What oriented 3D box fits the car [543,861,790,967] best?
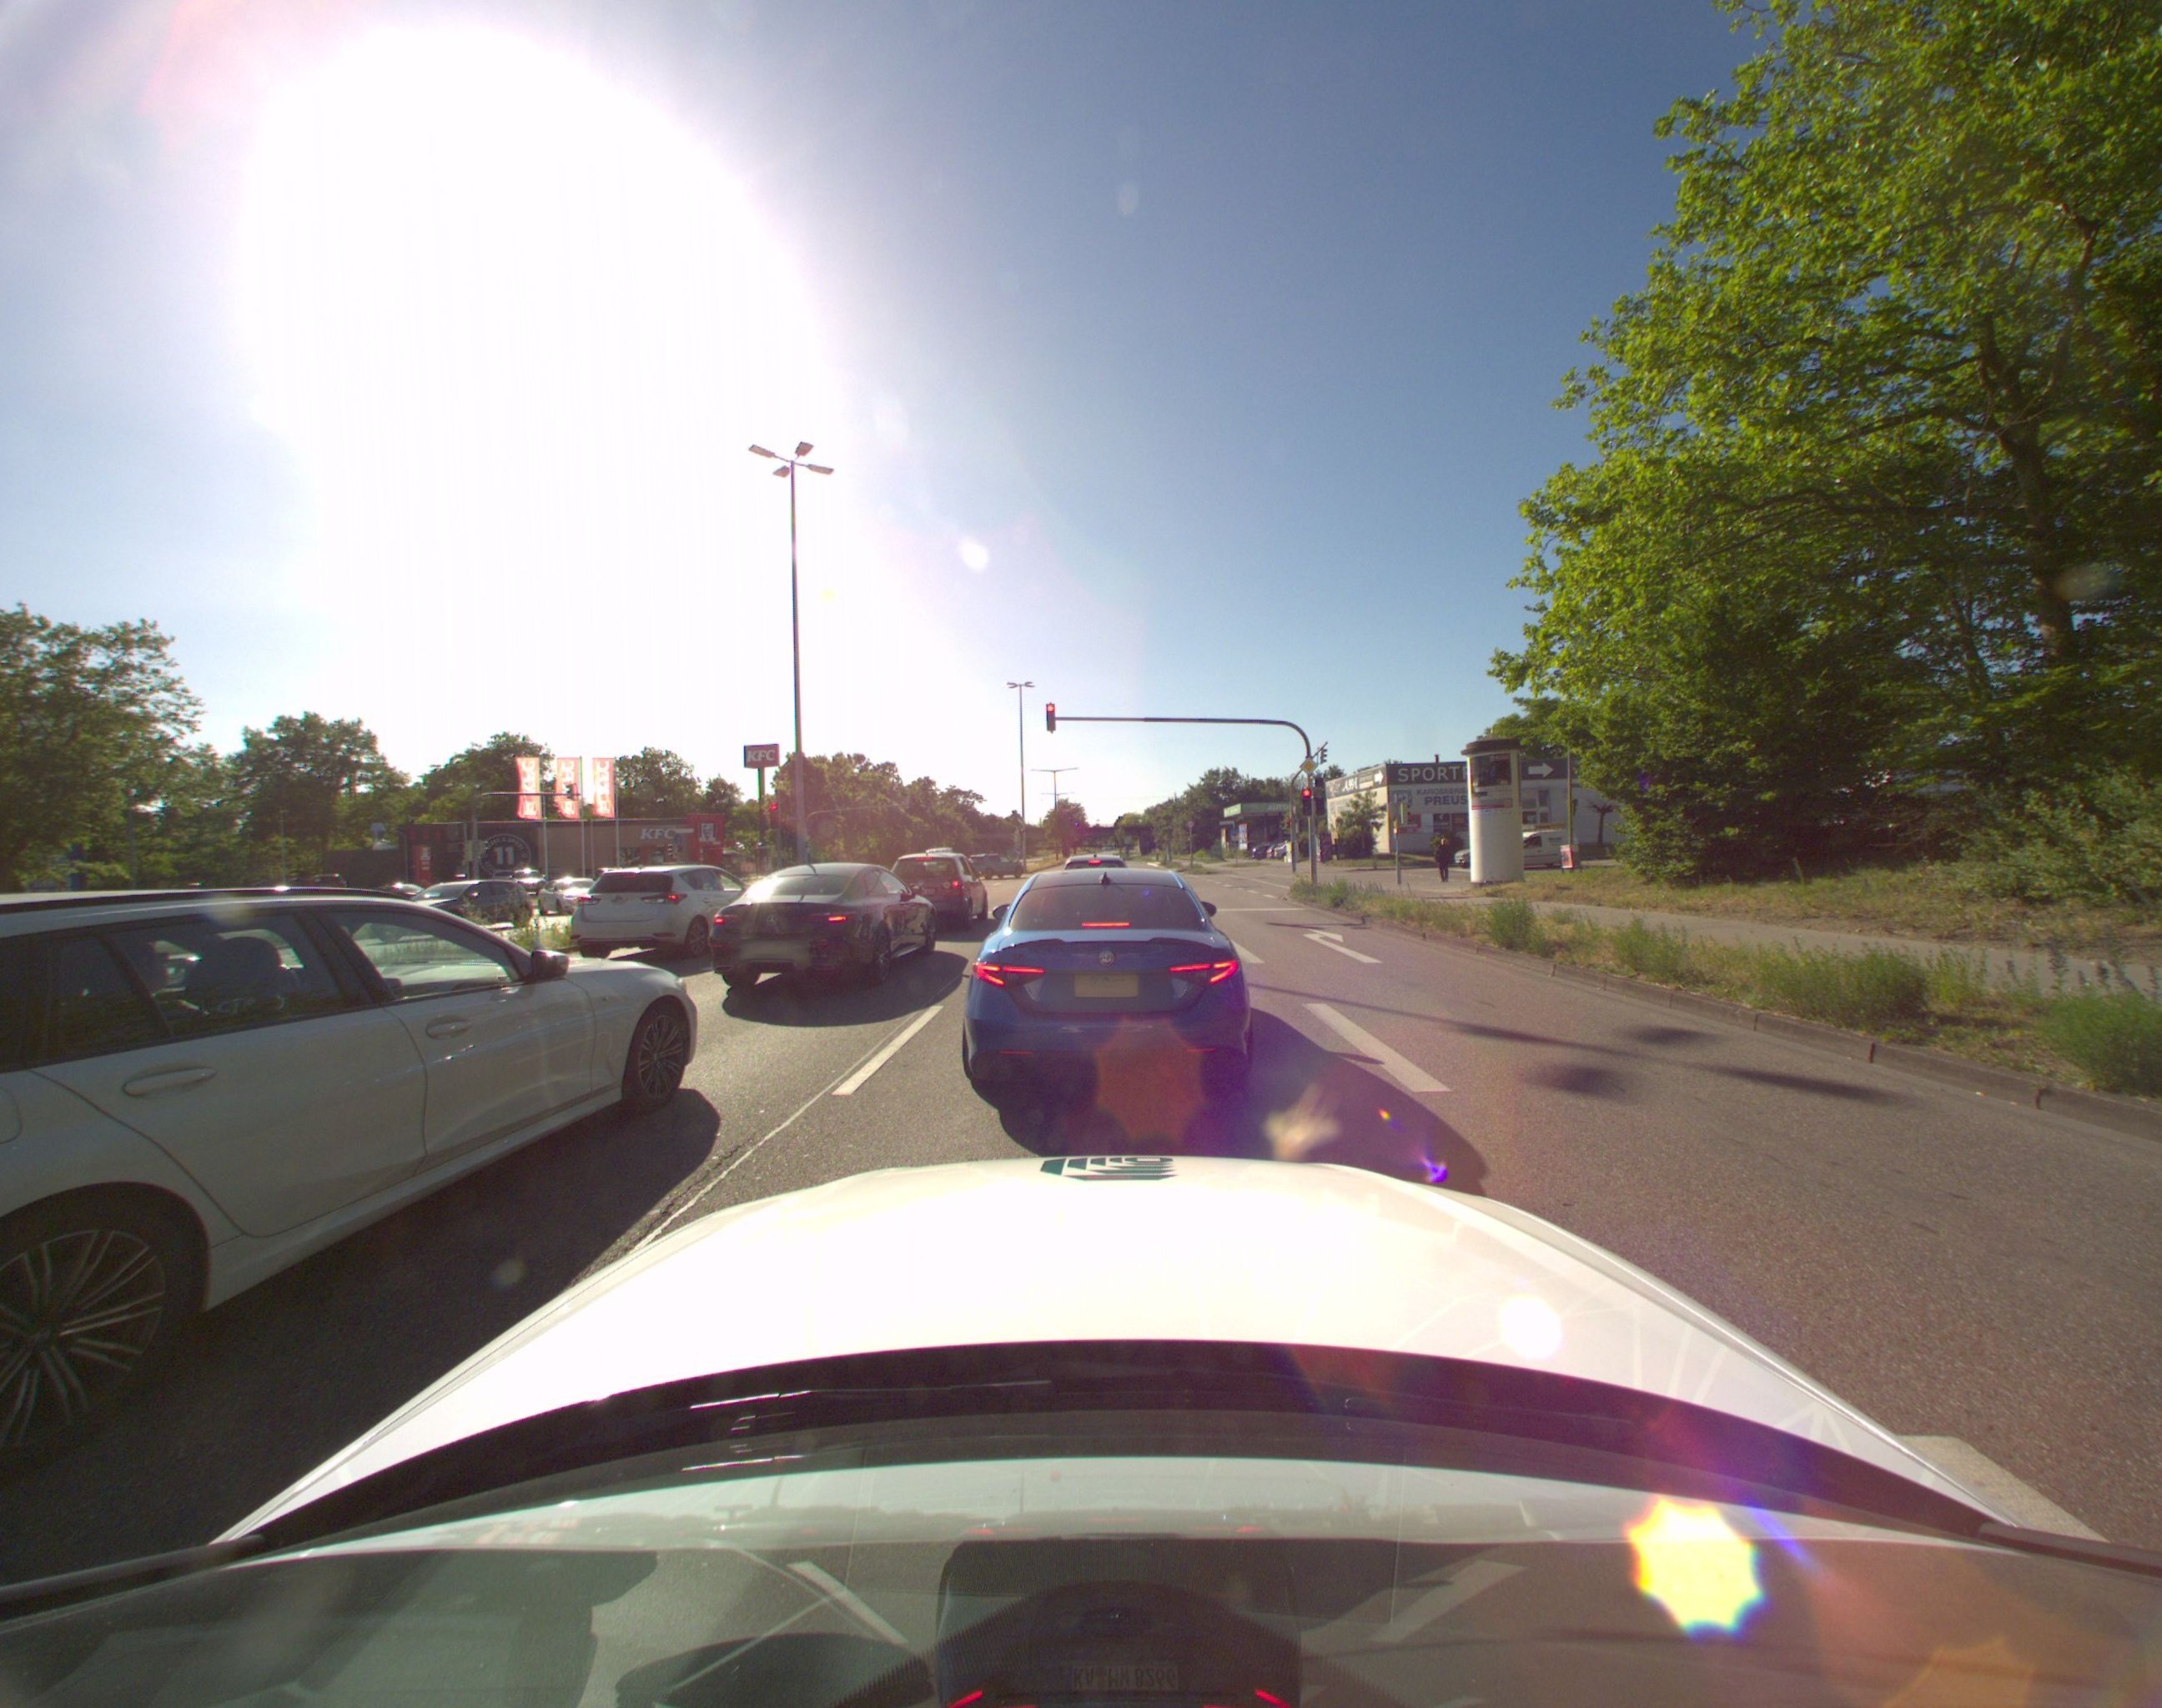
[{"bbox_3d":[-6.810,0.895,14.035,1.850,1.429,4.405,-1,0,2],"label":"car"}]

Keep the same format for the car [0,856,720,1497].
[{"bbox_3d":[-3.432,0.797,3.342,1.762,1.509,4.463,-1,0,2],"label":"car"}]

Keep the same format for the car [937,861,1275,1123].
[{"bbox_3d":[0.200,0.788,6.505,1.859,1.385,3.933,-1,0,2],"label":"car"}]

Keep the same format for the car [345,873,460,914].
[{"bbox_3d":[-32.003,1.854,38.481,3.971,1.728,1.760,-1,0,2],"label":"car"}]

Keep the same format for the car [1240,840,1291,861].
[{"bbox_3d":[16.032,-0.287,70.743,3.997,1.706,1.685,-1,0,-18],"label":"car"}]

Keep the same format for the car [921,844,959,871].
[{"bbox_3d":[-13.472,0.280,78.127,2.422,2.427,5.833,-1,0,2],"label":"car"}]

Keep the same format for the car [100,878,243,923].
[{"bbox_3d":[-42.659,2.152,38.277,4.265,1.845,1.998,-1,0,-3],"label":"car"}]

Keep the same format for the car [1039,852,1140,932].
[{"bbox_3d":[0.228,0.702,17.178,1.859,1.450,3.933,-1,0,2],"label":"car"}]

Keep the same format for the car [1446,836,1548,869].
[{"bbox_3d":[21.947,-0.078,43.048,4.393,1.553,1.999,-1,0,-2],"label":"car"}]

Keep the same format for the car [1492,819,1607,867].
[{"bbox_3d":[22.626,-0.519,39.449,4.393,2.145,1.999,-1,0,-2],"label":"car"}]

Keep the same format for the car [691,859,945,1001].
[{"bbox_3d":[-3.146,0.813,10.815,1.762,1.414,4.463,-1,0,2],"label":"car"}]

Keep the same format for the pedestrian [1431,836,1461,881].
[{"bbox_3d":[14.215,0.183,31.750,0.818,1.721,0.856,-2,0,9],"label":"pedestrian"}]

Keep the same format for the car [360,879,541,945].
[{"bbox_3d":[-17.218,1.526,22.528,1.814,1.429,4.048,-3,0,-1],"label":"car"}]

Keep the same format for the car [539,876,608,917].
[{"bbox_3d":[-21.027,1.696,33.648,1.873,1.429,4.681,-2,0,-39],"label":"car"}]

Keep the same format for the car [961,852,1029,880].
[{"bbox_3d":[-5.355,0.708,50.994,1.801,1.595,4.075,-1,0,42],"label":"car"}]

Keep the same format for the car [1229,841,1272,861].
[{"bbox_3d":[15.374,-0.251,73.952,3.489,1.706,1.687,-1,0,-14],"label":"car"}]

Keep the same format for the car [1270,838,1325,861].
[{"bbox_3d":[17.502,-0.357,65.849,3.993,1.706,1.687,-1,0,-15],"label":"car"}]

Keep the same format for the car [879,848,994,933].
[{"bbox_3d":[-3.007,0.699,17.735,1.642,1.598,3.933,-1,0,2],"label":"car"}]
